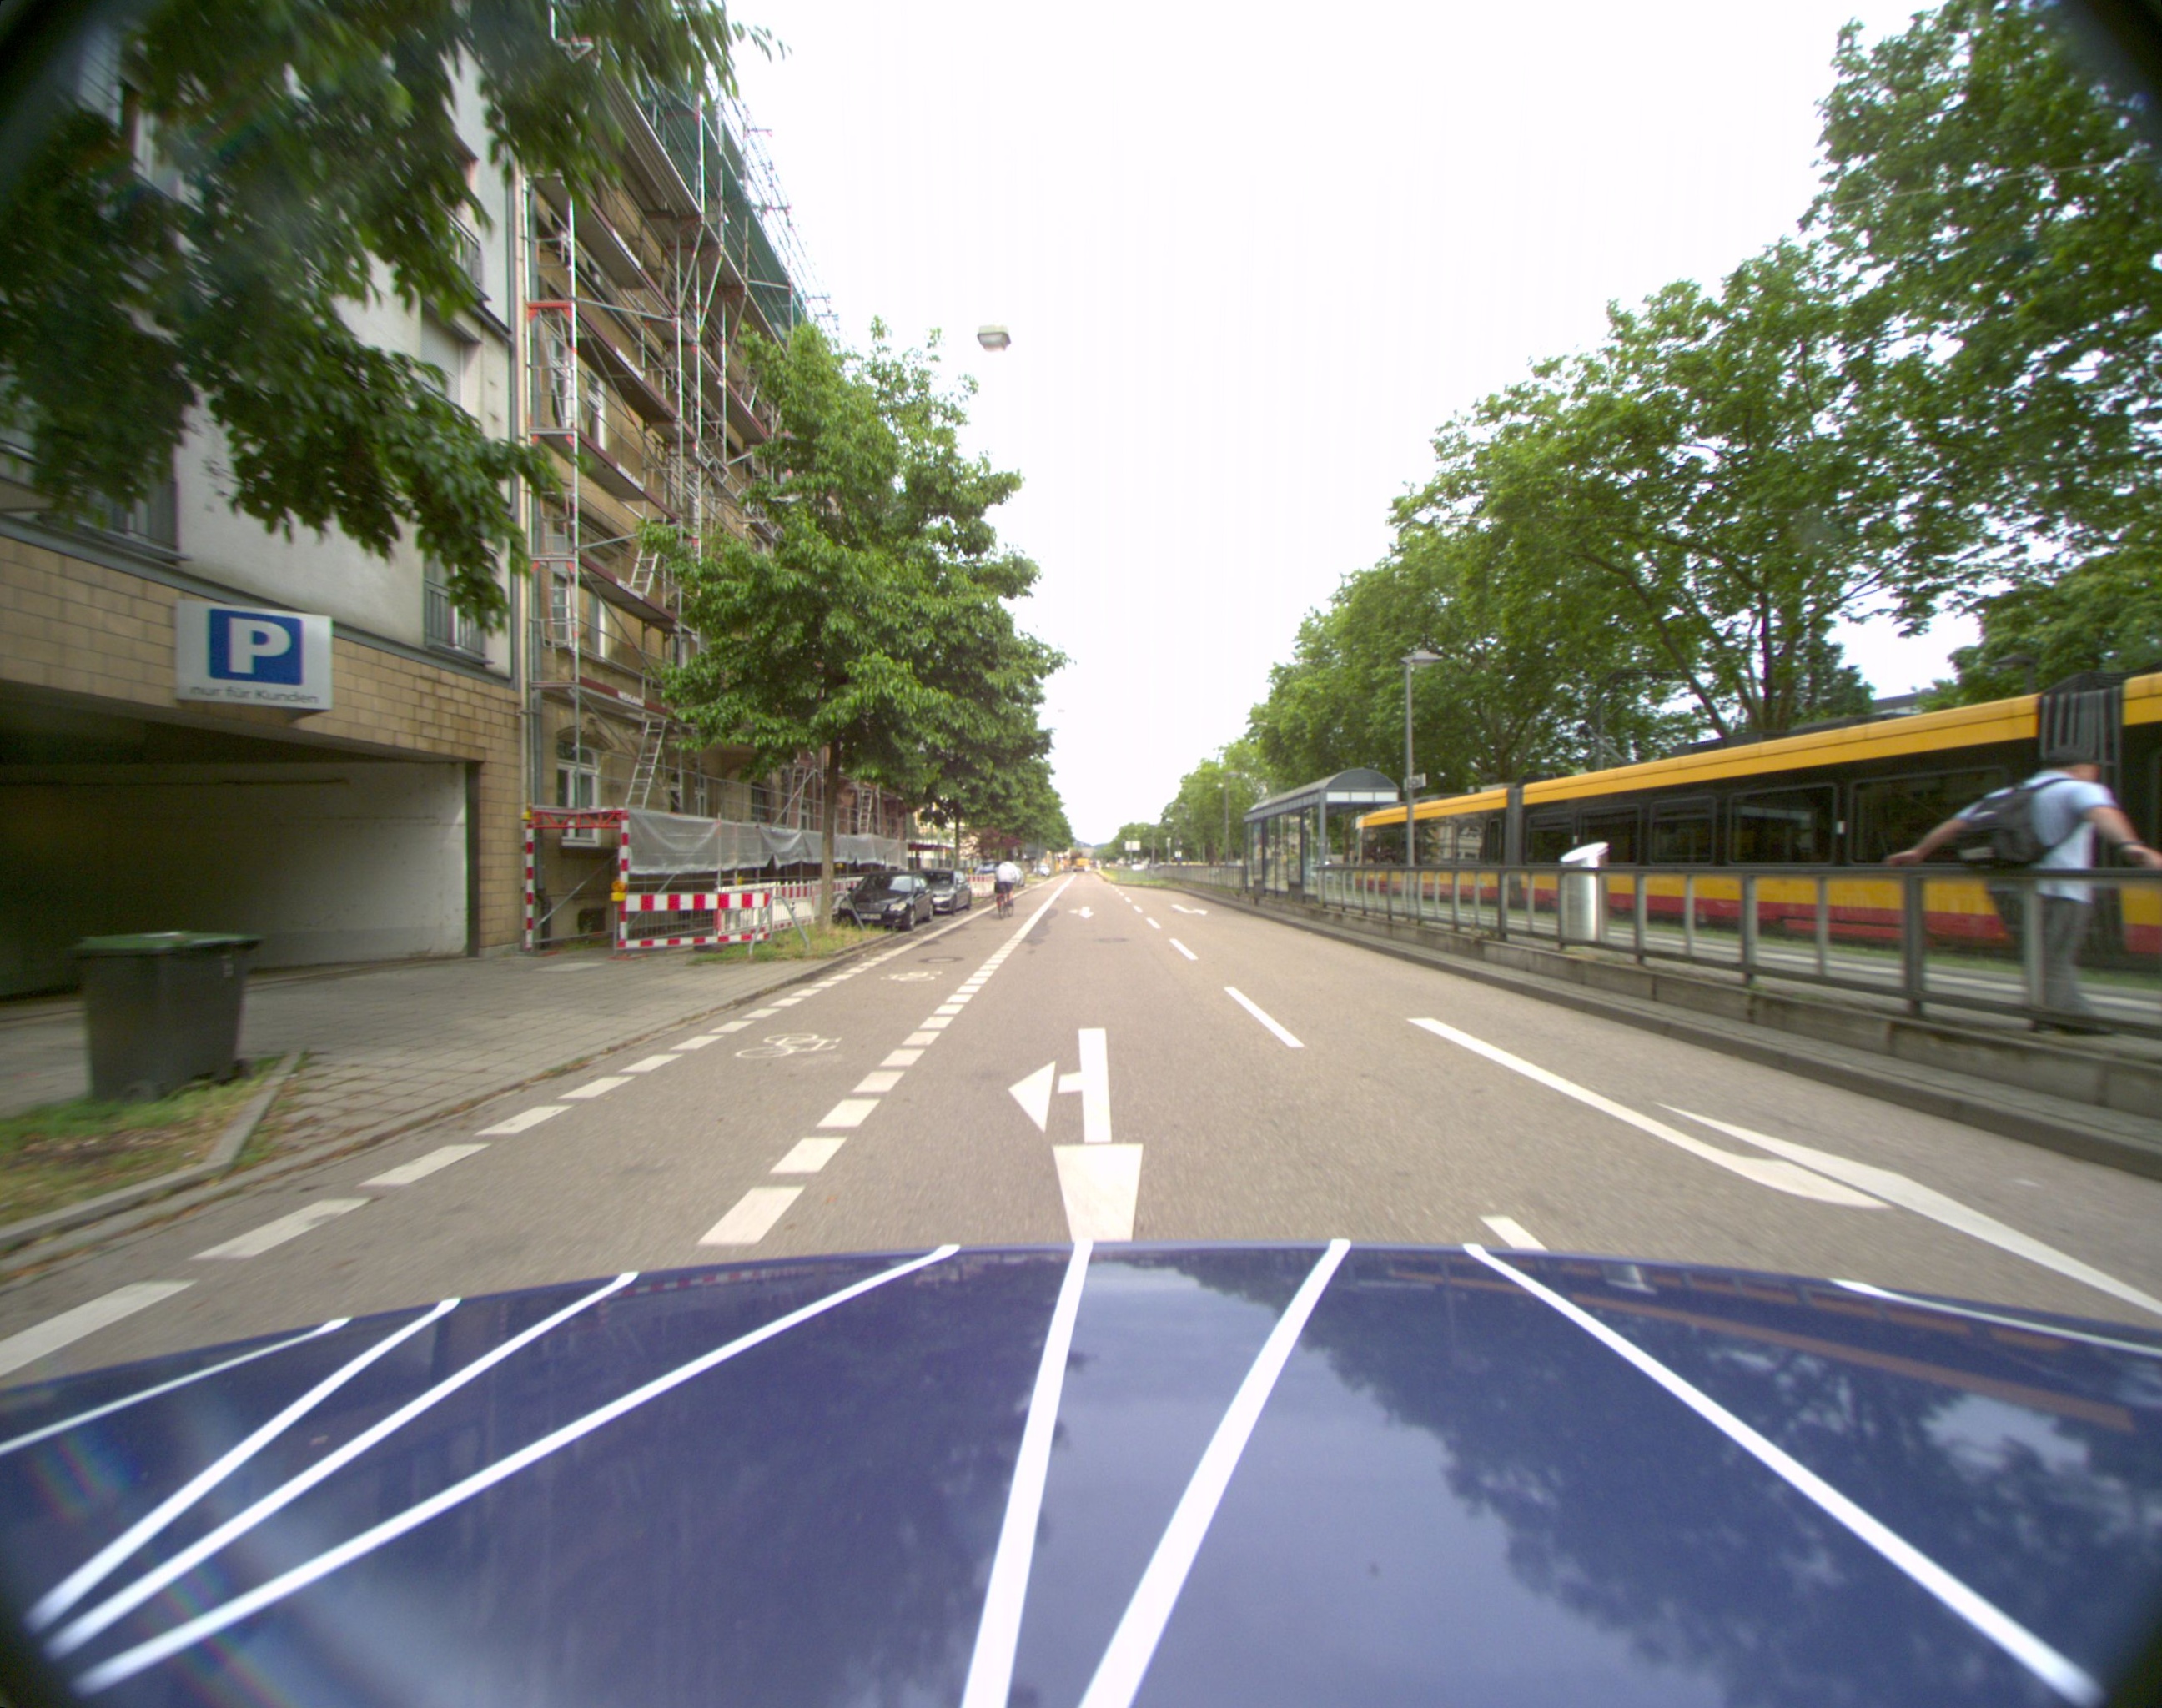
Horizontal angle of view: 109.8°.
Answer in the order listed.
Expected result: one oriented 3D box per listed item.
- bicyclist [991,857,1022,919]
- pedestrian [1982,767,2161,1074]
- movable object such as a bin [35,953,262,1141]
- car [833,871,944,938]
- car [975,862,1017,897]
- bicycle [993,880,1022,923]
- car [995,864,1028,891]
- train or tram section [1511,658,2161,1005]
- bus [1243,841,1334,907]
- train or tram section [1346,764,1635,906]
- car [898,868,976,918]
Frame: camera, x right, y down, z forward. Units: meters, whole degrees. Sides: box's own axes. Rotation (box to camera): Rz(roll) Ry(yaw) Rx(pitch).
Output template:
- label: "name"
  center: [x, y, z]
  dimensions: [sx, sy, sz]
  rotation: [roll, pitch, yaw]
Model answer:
- label: "bicyclist"
  center: [-2.197, 0.985, 22.563]
  dimensions: [0.751, 1.776, 0.838]
  rotation: [-2, 0, 1]
- label: "pedestrian"
  center: [5.525, 0.357, 4.242]
  dimensions: [0.480, 1.623, 0.392]
  rotation: [-2, 0, 2]
- label: "movable object such as a bin"
  center: [-5.833, 1.183, 4.787]
  dimensions: [0.764, 1.048, 0.541]
  rotation: [0, 0, 0]
- label: "car"
  center: [-4.830, 1.218, 19.700]
  dimensions: [1.755, 1.452, 4.280]
  rotation: [1, 0, 0]
- label: "car"
  center: [-4.606, 1.351, 41.722]
  dimensions: [1.837, 1.720, 4.280]
  rotation: [1, 0, 0]
- label: "bicycle"
  center: [-2.159, 1.383, 22.522]
  dimensions: [0.613, 1.116, 2.050]
  rotation: [-2, 0, 1]
- label: "car"
  center: [-4.612, 1.521, 51.014]
  dimensions: [1.837, 1.685, 3.762]
  rotation: [1, 0, 0]
- label: "train or tram section"
  center: [12.522, -0.258, 11.567]
  dimensions: [3.067, 3.511, 15.772]
  rotation: [-2, 0, 1]
- label: "bus"
  center: [6.926, 0.636, 25.799]
  dimensions: [1.998, 2.002, 4.000]
  rotation: [-2, 0, 1]
- label: "train or tram section"
  center: [12.669, -0.462, 25.743]
  dimensions: [3.100, 3.541, 12.539]
  rotation: [-2, 0, 1]
- label: "car"
  center: [-4.686, 1.228, 25.241]
  dimensions: [1.755, 1.452, 4.280]
  rotation: [1, 0, 0]
